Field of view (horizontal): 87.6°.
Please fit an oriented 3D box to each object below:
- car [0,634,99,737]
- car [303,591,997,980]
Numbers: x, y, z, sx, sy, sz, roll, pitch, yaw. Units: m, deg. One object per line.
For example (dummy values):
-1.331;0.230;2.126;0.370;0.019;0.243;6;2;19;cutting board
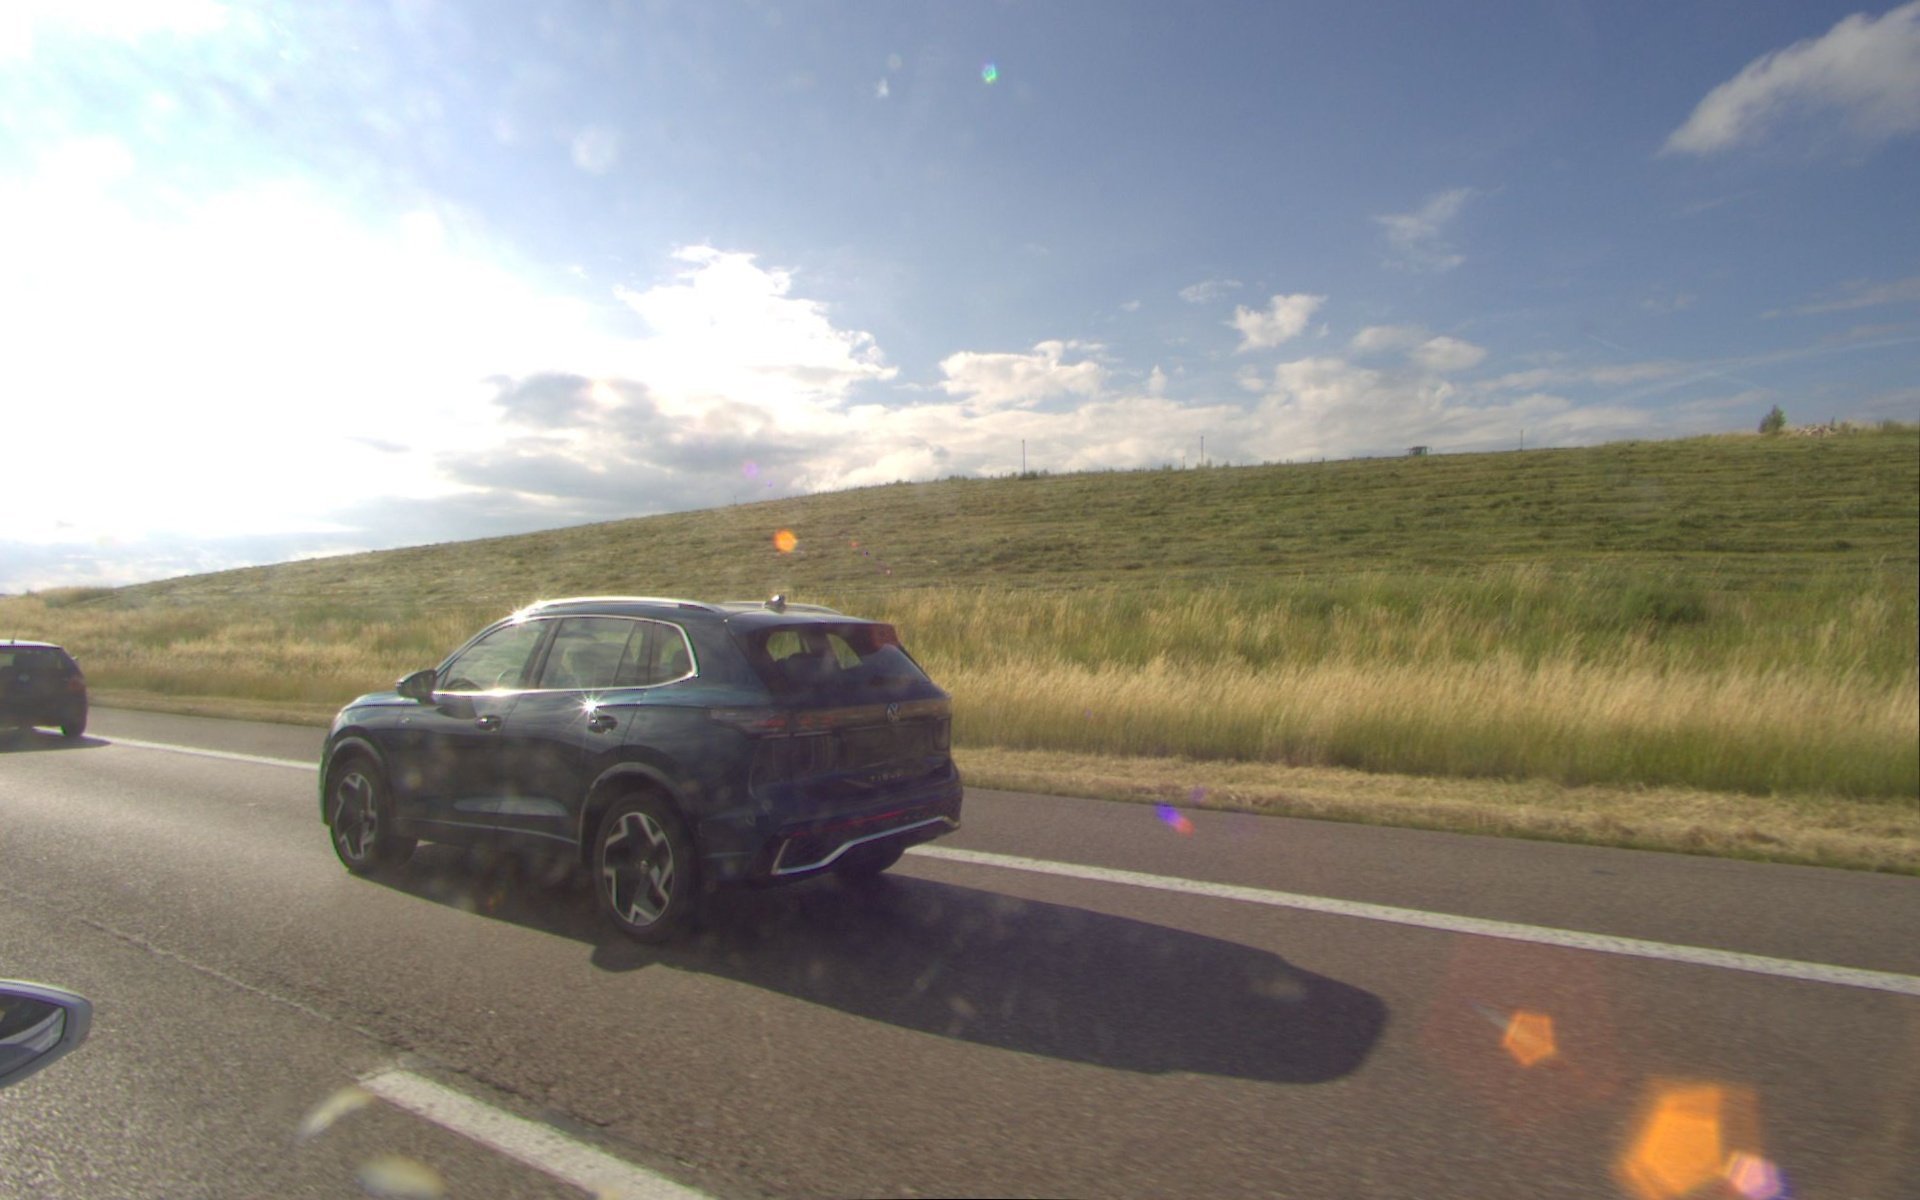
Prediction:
-14.775;1.254;15.246;3.621;1.438;1.602;-2;-2;33;car
-2.022;0.851;6.106;4.176;1.621;1.817;-2;-2;33;car
